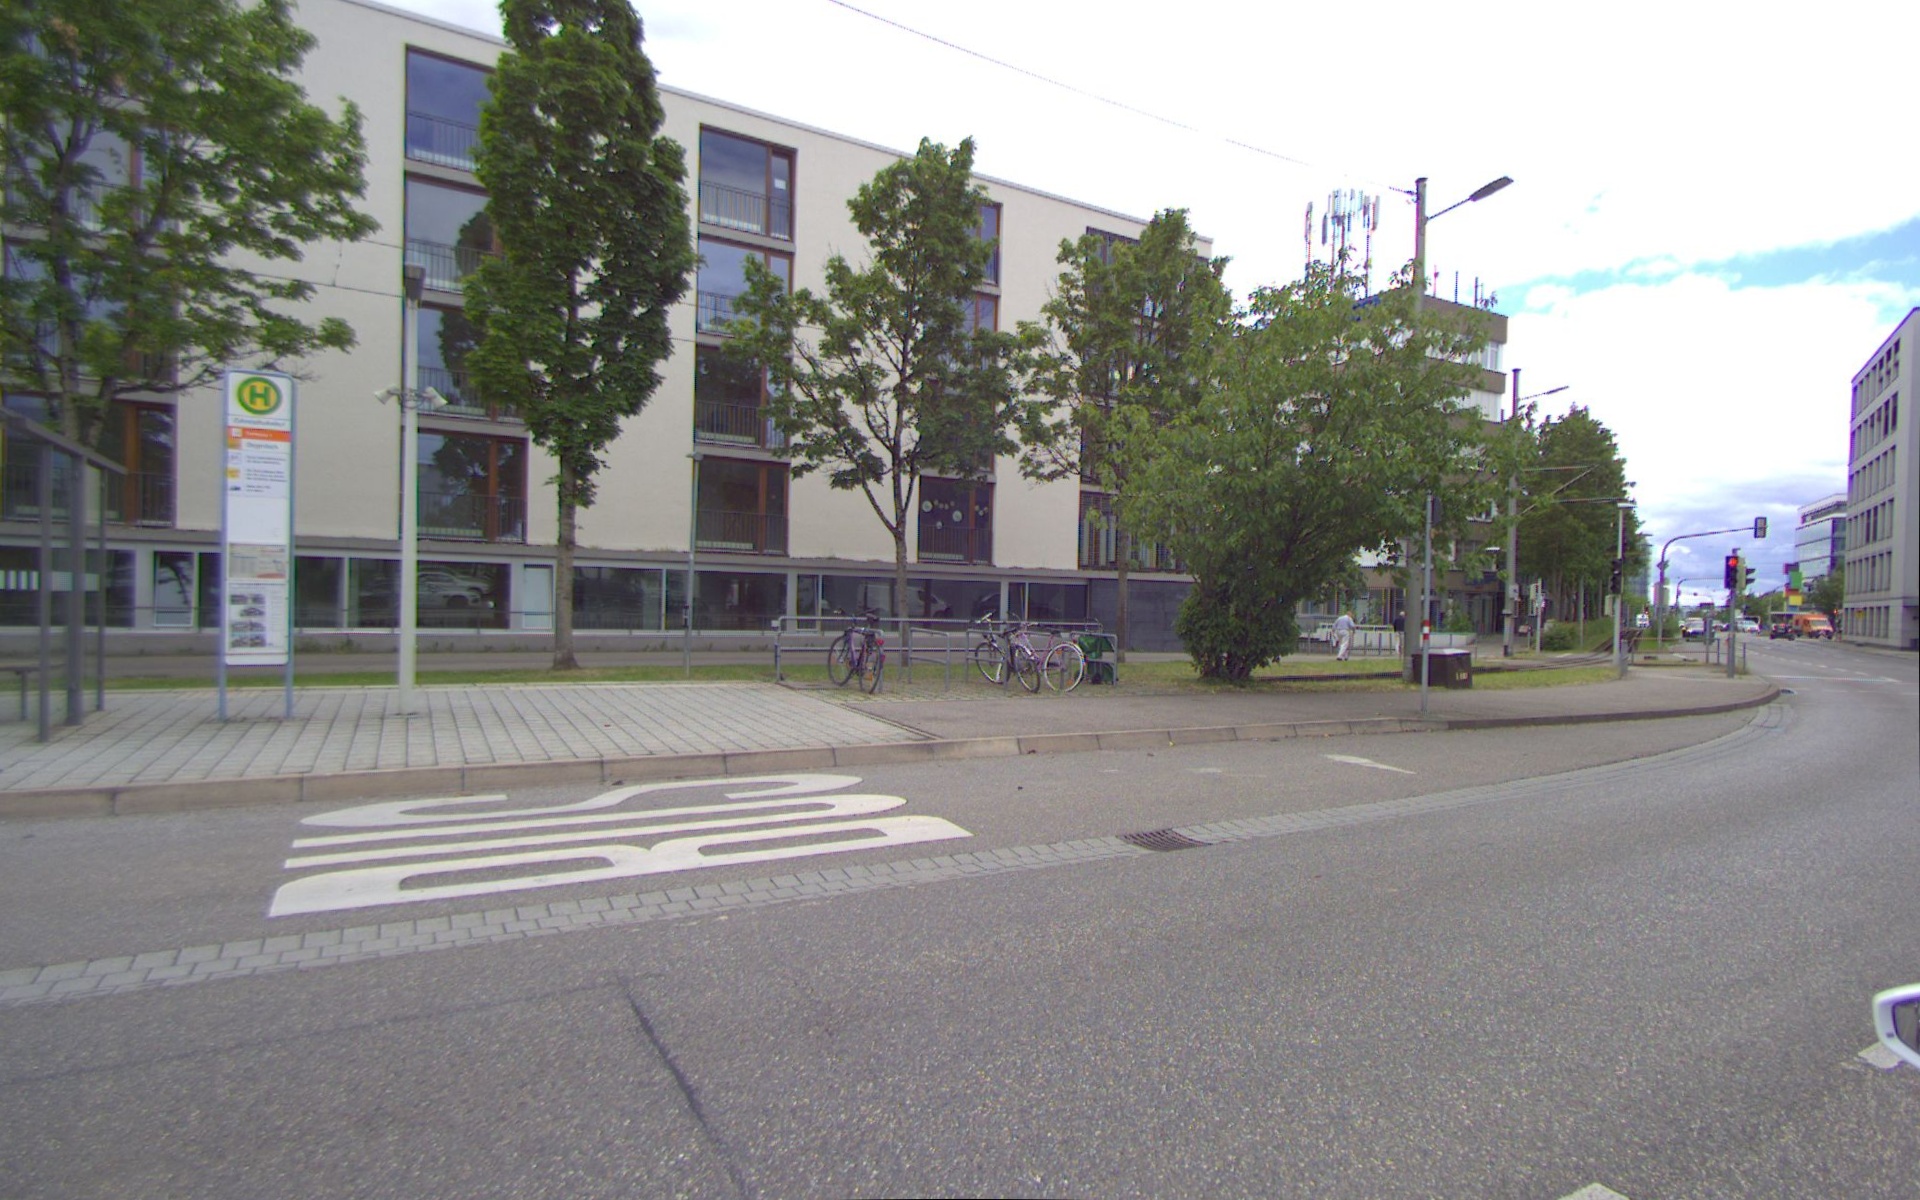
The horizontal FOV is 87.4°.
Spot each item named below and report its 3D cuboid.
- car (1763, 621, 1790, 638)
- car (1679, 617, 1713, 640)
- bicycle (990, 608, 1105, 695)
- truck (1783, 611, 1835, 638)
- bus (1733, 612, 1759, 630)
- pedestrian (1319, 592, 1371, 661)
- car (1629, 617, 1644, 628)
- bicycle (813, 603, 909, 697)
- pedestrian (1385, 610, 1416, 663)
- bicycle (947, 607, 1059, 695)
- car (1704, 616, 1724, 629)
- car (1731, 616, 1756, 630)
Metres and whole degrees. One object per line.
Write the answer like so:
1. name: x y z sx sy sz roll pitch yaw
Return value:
1. car: 81.302 2.920 99.971 1.878 1.506 3.979 1 0 42
2. car: 58.180 2.212 79.484 1.825 1.718 3.990 1 0 32
3. bicycle: 1.258 0.733 15.020 0.624 1.121 2.089 1 1 -29
4. truck: 96.800 2.740 114.635 2.532 2.863 6.985 1 0 24
5. bus: 148.612 3.892 190.082 3.041 2.968 10.309 3 2 34
6. pedestrian: 11.988 0.831 31.302 0.903 2.041 1.048 2 3 -29
7. car: 130.956 4.342 194.422 1.886 1.748 4.163 3 2 28
8. bicycle: -1.379 0.641 13.664 0.580 1.121 1.920 1 1 -28
9. pedestrian: 17.529 1.452 39.951 0.758 2.041 0.885 5 3 41
10. bicycle: 0.580 0.706 14.666 0.624 1.121 2.089 1 1 -28
11. car: 119.183 3.531 158.779 1.886 1.748 4.163 3 2 28
12. car: 104.559 3.042 134.060 1.886 1.748 4.163 3 2 28
